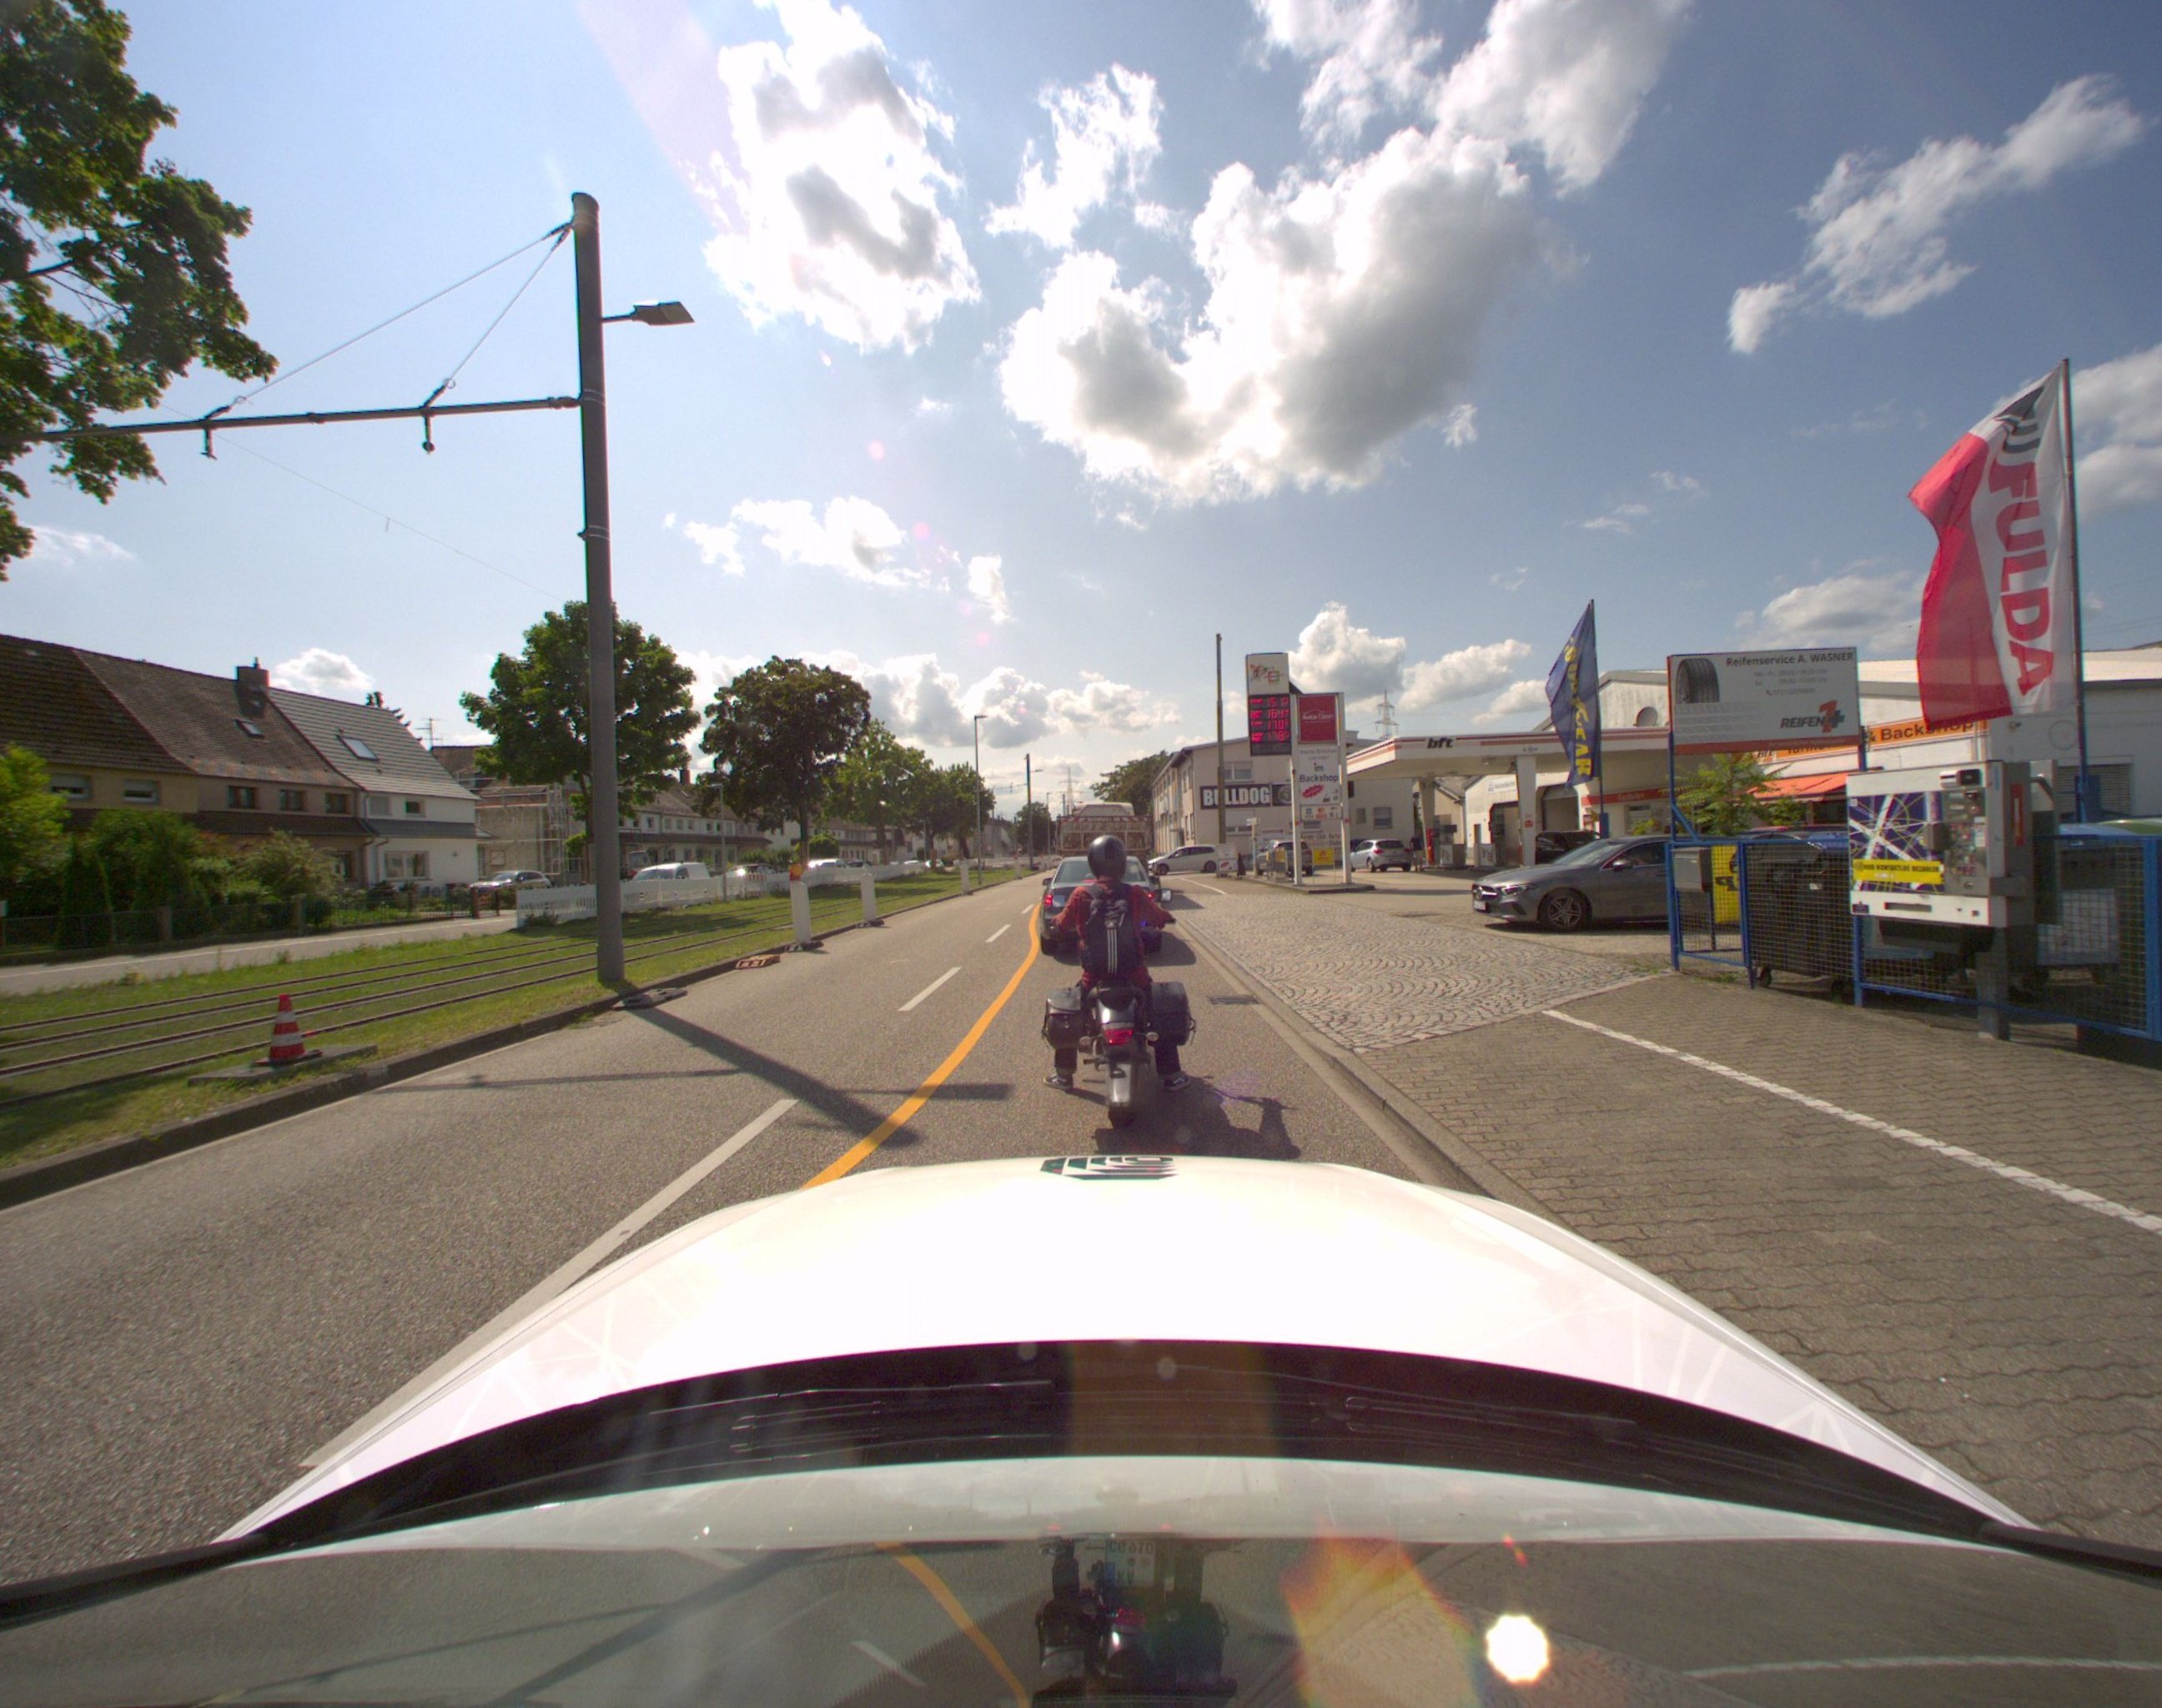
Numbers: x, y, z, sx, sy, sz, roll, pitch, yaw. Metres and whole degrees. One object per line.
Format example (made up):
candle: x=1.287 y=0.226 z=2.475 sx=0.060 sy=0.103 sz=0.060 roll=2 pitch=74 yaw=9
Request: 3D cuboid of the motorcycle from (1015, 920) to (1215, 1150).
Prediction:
motorcycle: x=0.212 y=1.028 z=5.449 sx=0.975 sy=0.897 sz=2.654 roll=-2 pitch=0 yaw=2

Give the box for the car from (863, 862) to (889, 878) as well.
car: x=-24.391 y=1.833 z=97.043 sx=1.769 sy=1.722 sz=4.130 roll=-2 pitch=0 yaw=2

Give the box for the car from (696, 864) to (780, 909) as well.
car: x=-15.402 y=1.413 z=36.801 sx=1.769 sy=1.774 sz=4.230 roll=-2 pitch=0 yaw=2

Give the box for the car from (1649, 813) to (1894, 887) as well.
car: x=15.780 y=-0.089 z=18.763 sx=4.180 sy=1.463 sz=1.587 roll=-2 pitch=0 yaw=2

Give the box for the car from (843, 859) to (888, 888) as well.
car: x=-14.802 y=1.334 z=56.040 sx=1.769 sy=1.805 sz=4.130 roll=-2 pitch=0 yaw=2

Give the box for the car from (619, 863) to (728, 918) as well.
car: x=-15.431 y=1.317 z=31.157 sx=1.769 sy=1.821 sz=4.366 roll=-2 pitch=0 yaw=2

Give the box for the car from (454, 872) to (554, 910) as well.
car: x=-27.433 y=1.728 z=38.895 sx=1.769 sy=1.519 sz=4.002 roll=-2 pitch=0 yaw=2

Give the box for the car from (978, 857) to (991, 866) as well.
car: x=-19.104 y=1.516 z=161.356 sx=1.769 sy=1.722 sz=4.252 roll=-2 pitch=0 yaw=2

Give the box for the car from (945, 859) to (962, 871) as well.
car: x=-19.638 y=1.625 z=125.919 sx=1.769 sy=1.722 sz=4.130 roll=-2 pitch=0 yaw=2

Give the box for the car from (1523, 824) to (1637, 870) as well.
car: x=18.124 y=-0.249 z=29.790 sx=1.800 sy=1.503 sz=3.833 roll=-2 pitch=0 yaw=0

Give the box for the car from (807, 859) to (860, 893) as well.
car: x=-15.061 y=1.327 z=49.863 sx=1.769 sy=1.867 sz=4.130 roll=-2 pitch=0 yaw=2

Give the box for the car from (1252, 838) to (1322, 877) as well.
car: x=9.121 y=0.149 z=36.457 sx=1.665 sy=1.562 sz=4.235 roll=-2 pitch=0 yaw=-6

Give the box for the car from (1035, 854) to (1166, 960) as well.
car: x=0.340 y=0.735 z=13.340 sx=1.816 sy=1.452 sz=4.002 roll=0 pitch=0 yaw=2

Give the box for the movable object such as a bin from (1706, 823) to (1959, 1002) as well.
movable object such as a bin: x=6.697 y=0.480 z=7.363 sx=1.104 sy=1.436 sz=1.244 roll=-2 pitch=0 yaw=1

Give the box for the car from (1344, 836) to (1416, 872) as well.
car: x=13.481 y=-0.010 z=36.924 sx=1.800 sy=1.503 sz=3.832 roll=-2 pitch=0 yaw=-1

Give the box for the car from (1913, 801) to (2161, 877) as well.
car: x=21.528 y=-0.341 z=18.171 sx=4.180 sy=1.463 sz=1.587 roll=-2 pitch=0 yaw=2

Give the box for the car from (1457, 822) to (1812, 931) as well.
car: x=8.348 y=0.332 z=12.614 sx=4.252 sy=1.415 sz=1.676 roll=-2 pitch=0 yaw=5

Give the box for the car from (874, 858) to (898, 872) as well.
car: x=-25.163 y=1.395 z=105.204 sx=1.769 sy=1.722 sz=4.130 roll=-2 pitch=0 yaw=2

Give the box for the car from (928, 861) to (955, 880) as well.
car: x=-13.729 y=1.627 z=80.457 sx=1.769 sy=1.722 sz=4.130 roll=-2 pitch=0 yaw=2

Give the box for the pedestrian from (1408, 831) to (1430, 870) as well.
pedestrian: x=14.656 y=-0.134 z=35.323 sx=0.701 sy=1.656 sz=0.551 roll=-2 pitch=0 yaw=37

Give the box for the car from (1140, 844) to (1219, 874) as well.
car: x=5.664 y=0.290 z=47.051 sx=4.225 sy=1.543 sz=1.669 roll=-2 pitch=0 yaw=-7

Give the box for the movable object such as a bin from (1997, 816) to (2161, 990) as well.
movable object such as a bin: x=9.494 y=0.376 z=7.135 sx=1.397 sy=1.396 sz=1.338 roll=-2 pitch=0 yaw=1

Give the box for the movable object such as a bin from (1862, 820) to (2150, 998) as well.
movable object such as a bin: x=8.091 y=0.447 z=7.223 sx=1.104 sy=1.396 sz=1.244 roll=-2 pitch=0 yaw=1

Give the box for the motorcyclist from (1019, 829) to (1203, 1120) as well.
motorcyclist: x=0.187 y=0.679 z=5.145 sx=0.975 sy=1.602 sz=1.088 roll=-2 pitch=0 yaw=1

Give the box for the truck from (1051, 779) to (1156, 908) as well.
truck: x=0.733 y=-0.288 z=25.503 sx=2.628 sy=3.296 sz=8.059 roll=-2 pitch=0 yaw=2

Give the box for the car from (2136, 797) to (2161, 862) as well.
car: x=26.532 y=-0.638 z=18.008 sx=4.180 sy=1.463 sz=1.587 roll=-2 pitch=0 yaw=2
